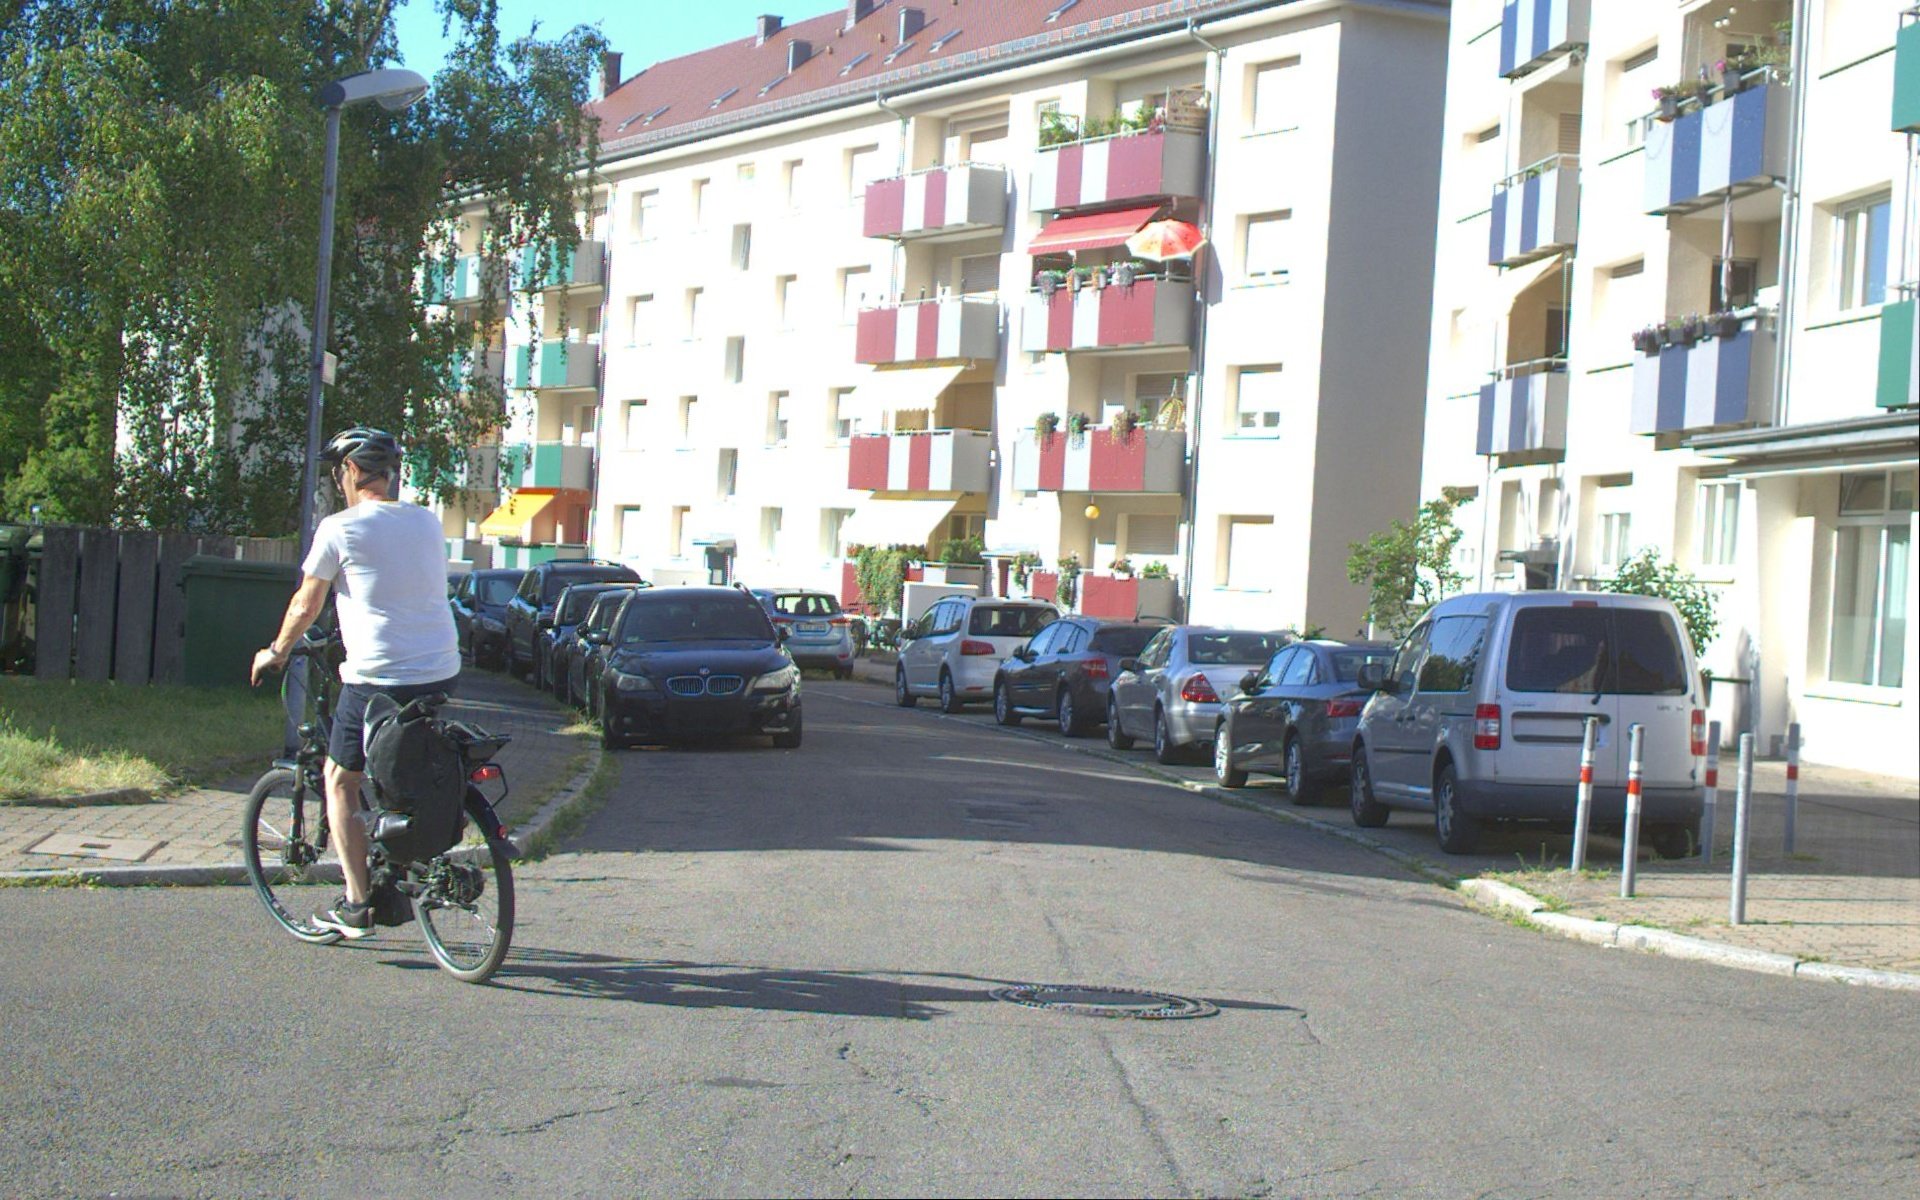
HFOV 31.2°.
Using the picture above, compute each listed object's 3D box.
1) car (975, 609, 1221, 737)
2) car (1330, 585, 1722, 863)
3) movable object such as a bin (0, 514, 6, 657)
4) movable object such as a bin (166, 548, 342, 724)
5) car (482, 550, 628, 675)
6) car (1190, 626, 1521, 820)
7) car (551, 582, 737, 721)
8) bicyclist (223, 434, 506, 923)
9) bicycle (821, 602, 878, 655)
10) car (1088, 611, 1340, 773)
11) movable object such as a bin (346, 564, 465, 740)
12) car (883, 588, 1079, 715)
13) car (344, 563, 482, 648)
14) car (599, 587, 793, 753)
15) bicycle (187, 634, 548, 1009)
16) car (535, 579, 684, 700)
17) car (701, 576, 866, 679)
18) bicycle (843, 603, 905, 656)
[{"bbox_3d":[1.630,0.862,42.497,1.693,1.427,4.689,2,0,-15],"label":"car"},{"bbox_3d":[3.988,0.818,24.897,1.746,1.818,4.132,1,0,-6],"label":"car"},{"bbox_3d":[-10.068,-0.152,33.910,1.060,1.430,1.003,2,0,-4],"label":"movable object such as a bin"},{"bbox_3d":[-5.935,0.299,28.932,1.220,1.376,0.767,4,0,1],"label":"movable object such as a bin"},{"bbox_3d":[-5.835,0.155,49.181,1.555,1.708,4.339,0,0,-14],"label":"car"},{"bbox_3d":[3.406,1.028,30.488,1.677,1.402,4.547,3,0,-9],"label":"car"},{"bbox_3d":[-3.559,0.528,38.121,1.677,1.437,4.281,0,0,-10],"label":"car"},{"bbox_3d":[-2.026,0.252,11.638,0.596,1.573,0.907,4,0,-28],"label":"bicyclist"},{"bbox_3d":[-2.269,0.576,70.256,0.497,1.016,1.842,1,1,-24],"label":"bicycle"},{"bbox_3d":[2.634,0.933,36.714,1.677,1.442,4.725,3,0,-8],"label":"car"},{"bbox_3d":[-4.595,0.420,28.553,0.775,1.388,1.417,3,0,-4],"label":"movable object such as a bin"},{"bbox_3d":[0.252,0.700,49.102,1.693,1.650,4.391,2,0,-14],"label":"car"},{"bbox_3d":[-10.205,0.091,63.936,1.693,1.384,4.158,3,0,-20],"label":"car"},{"bbox_3d":[-2.602,0.620,33.060,1.677,1.448,4.621,0,0,-6],"label":"car"},{"bbox_3d":[-2.036,0.709,11.613,0.627,1.111,1.816,3,0,-27],"label":"bicycle"},{"bbox_3d":[-4.451,0.461,43.271,1.555,1.437,3.969,0,0,-10],"label":"car"},{"bbox_3d":[-3.187,0.469,61.367,1.765,1.630,4.043,1,2,-21],"label":"car"},{"bbox_3d":[-1.774,0.606,70.763,0.617,0.975,1.896,0,3,-23],"label":"bicycle"}]
